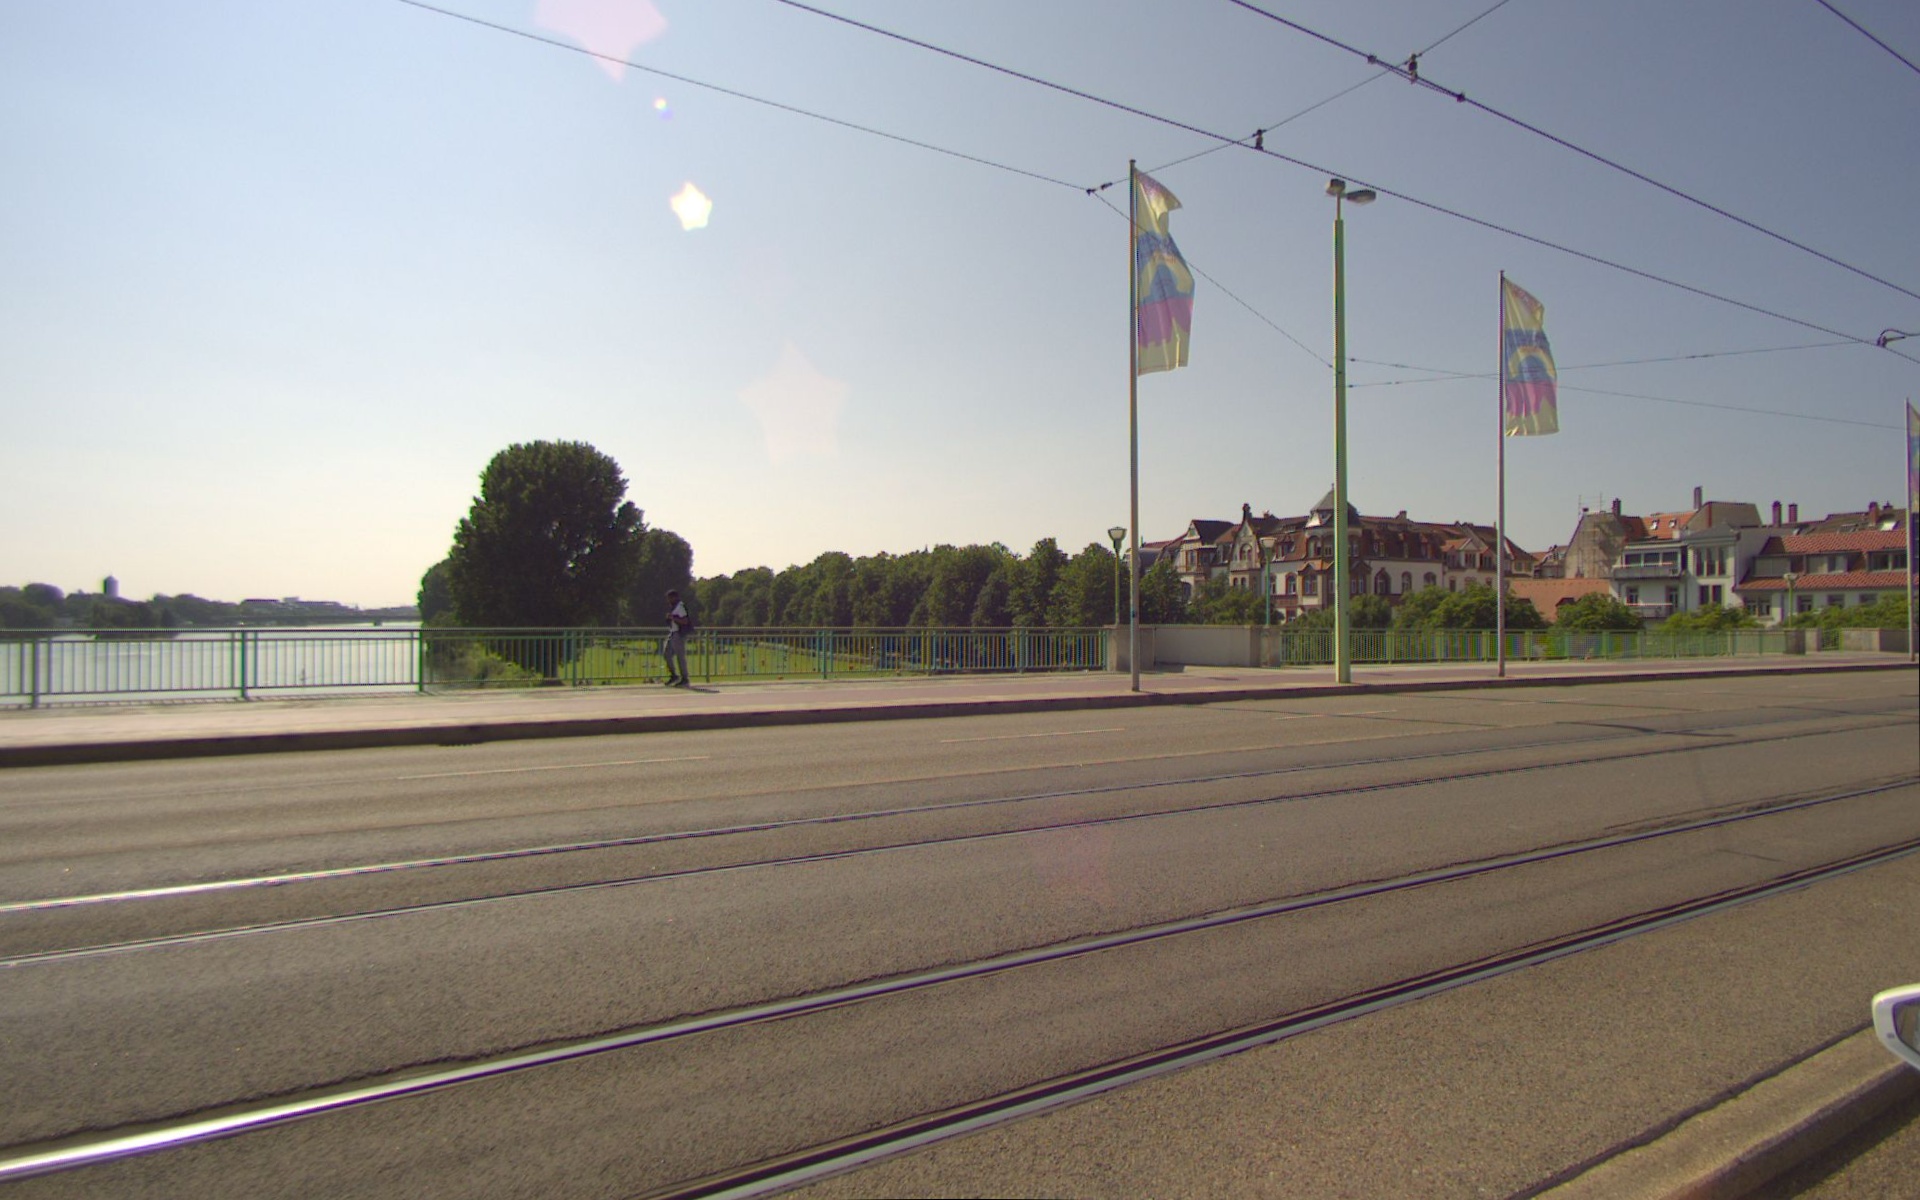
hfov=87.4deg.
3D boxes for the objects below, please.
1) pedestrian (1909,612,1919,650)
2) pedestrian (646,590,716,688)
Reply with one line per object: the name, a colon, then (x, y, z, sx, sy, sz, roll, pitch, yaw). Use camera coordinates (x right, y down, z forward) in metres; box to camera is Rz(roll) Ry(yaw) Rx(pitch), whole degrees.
pedestrian: (45.982, 1.497, 47.988, 0.655, 1.810, 0.760, 0, 0, -27)
pedestrian: (-5.168, 0.692, 18.567, 1.081, 1.745, 0.826, 0, 1, -30)
